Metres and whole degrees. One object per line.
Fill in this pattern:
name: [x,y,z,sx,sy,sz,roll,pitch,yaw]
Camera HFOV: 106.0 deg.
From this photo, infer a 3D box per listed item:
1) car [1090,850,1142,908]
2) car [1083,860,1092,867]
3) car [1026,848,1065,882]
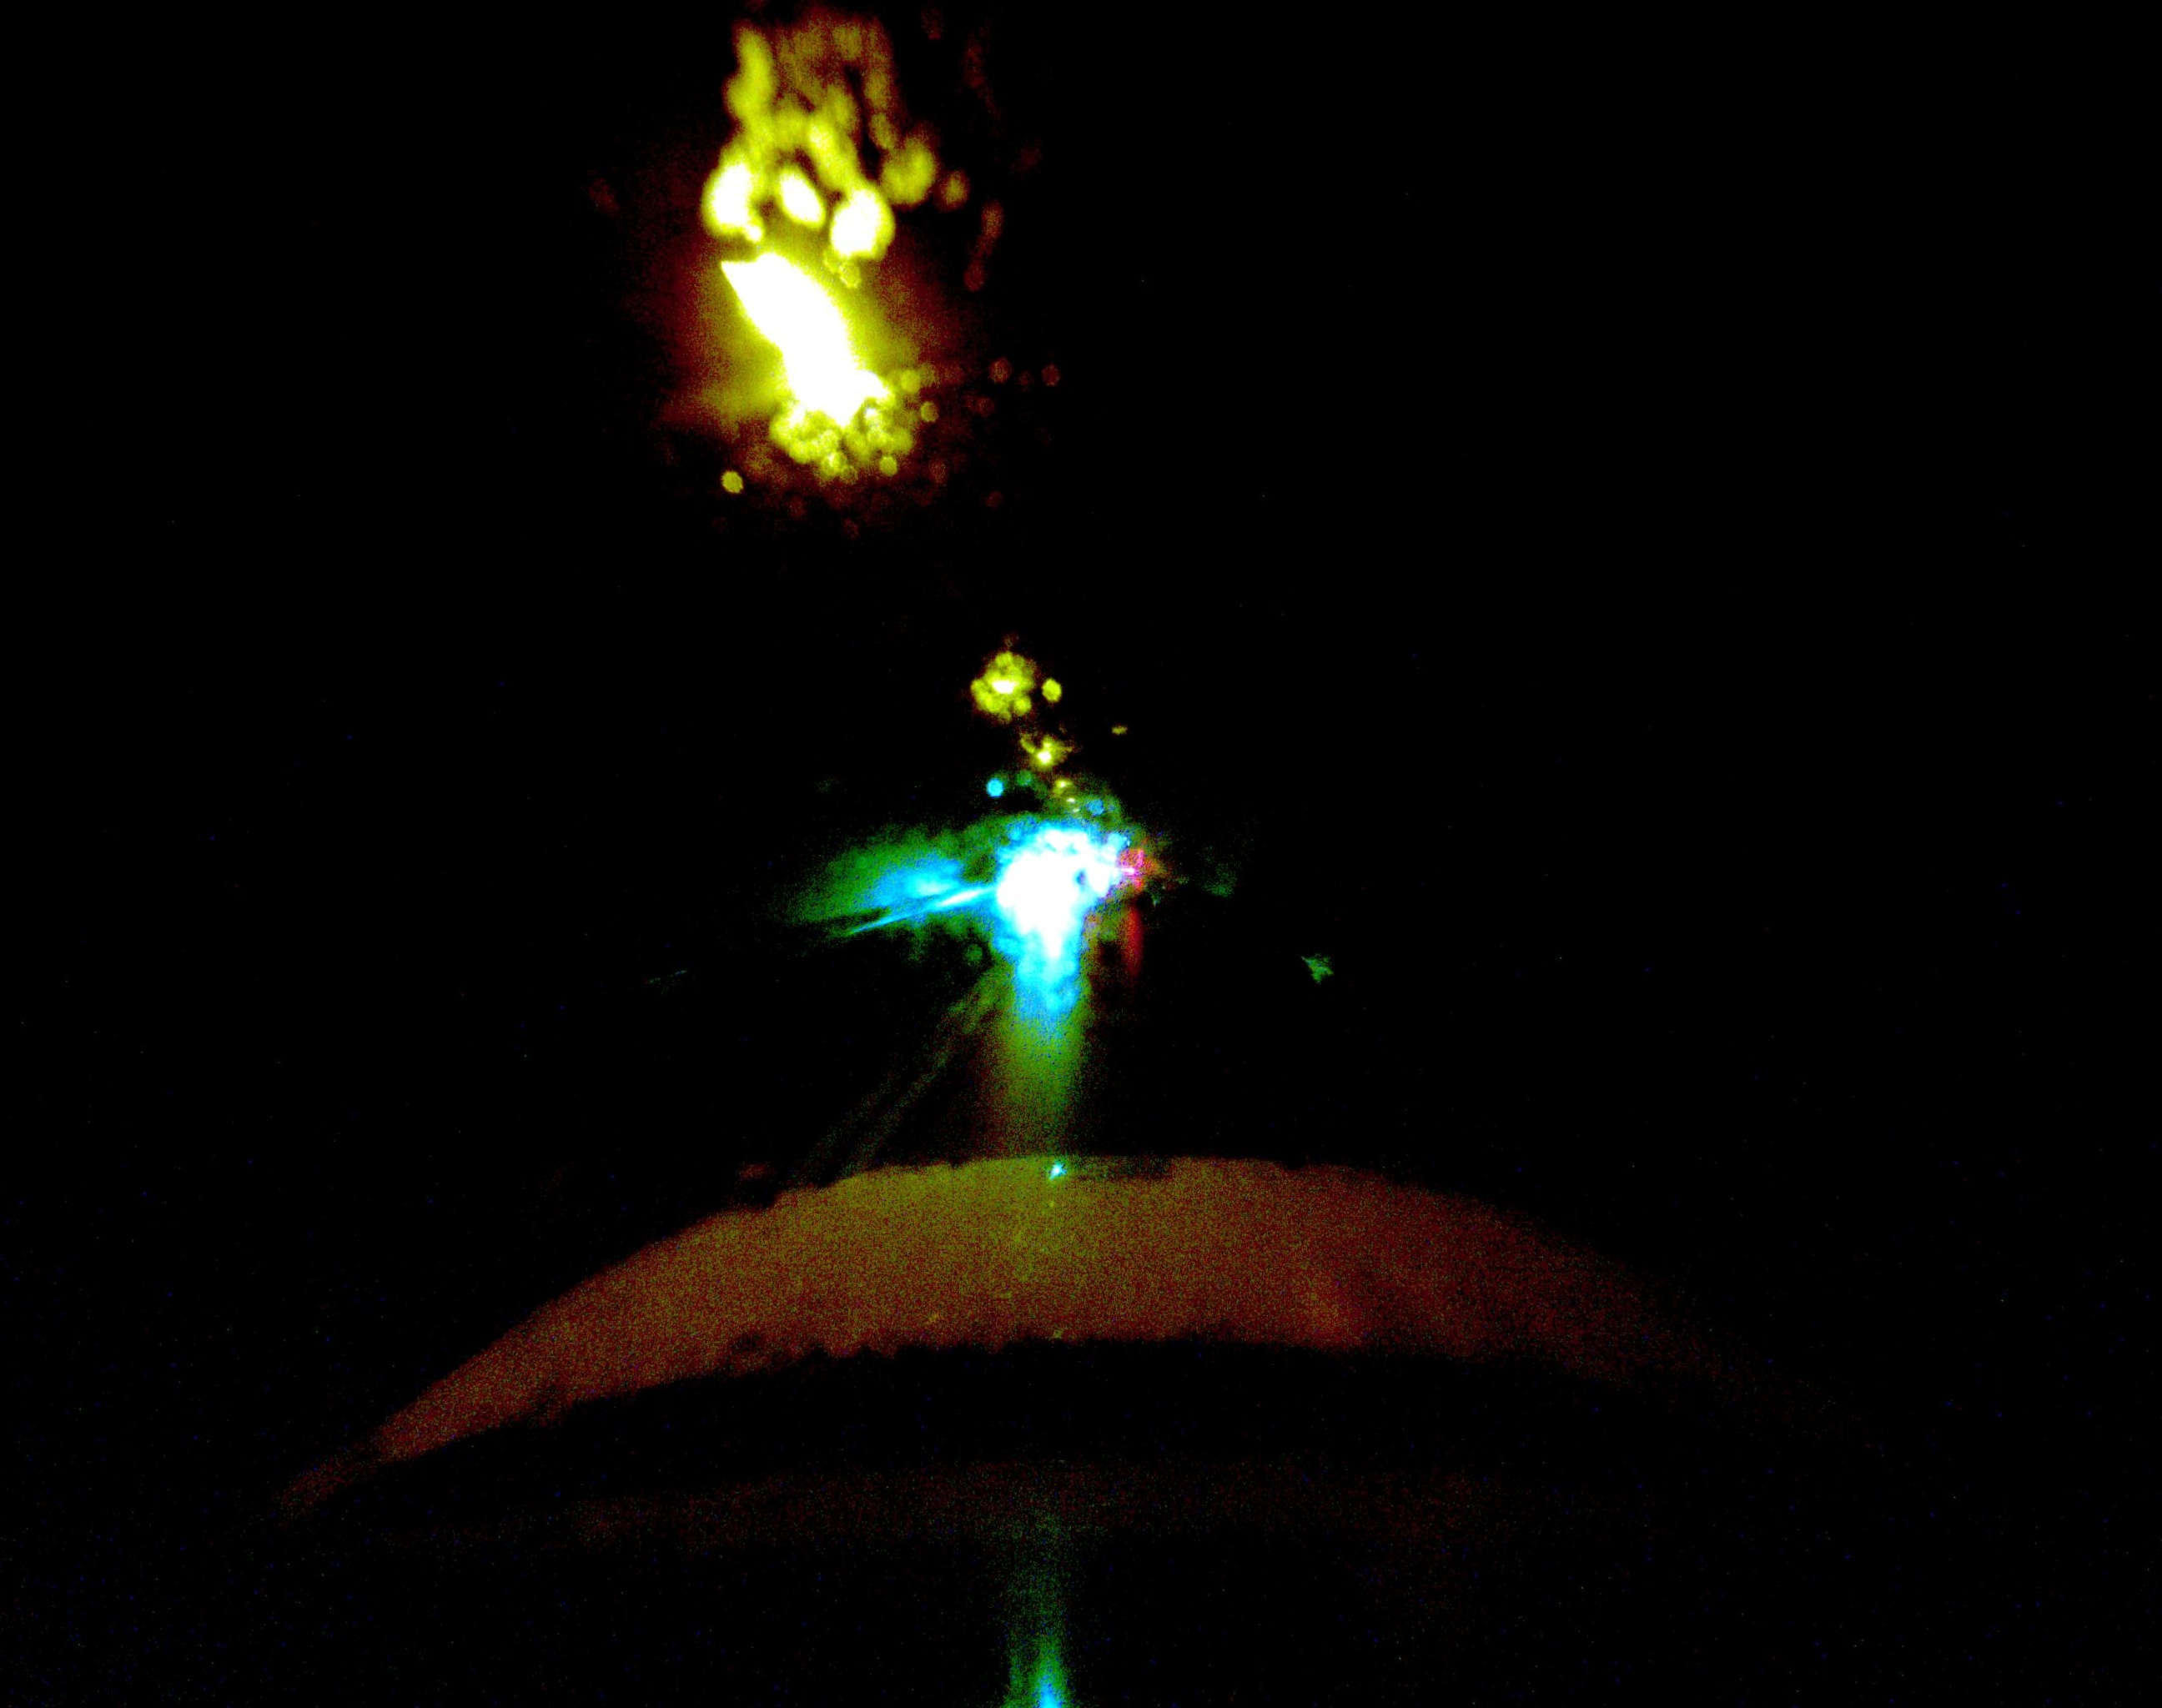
car: [1.236,0.805,28.533,1.629,1.757,4.148,-2,1,2]
car: [1.297,1.951,171.271,1.771,1.408,4.293,-2,1,0]
car: [-1.824,0.545,42.572,1.629,1.602,4.148,-2,1,2]
